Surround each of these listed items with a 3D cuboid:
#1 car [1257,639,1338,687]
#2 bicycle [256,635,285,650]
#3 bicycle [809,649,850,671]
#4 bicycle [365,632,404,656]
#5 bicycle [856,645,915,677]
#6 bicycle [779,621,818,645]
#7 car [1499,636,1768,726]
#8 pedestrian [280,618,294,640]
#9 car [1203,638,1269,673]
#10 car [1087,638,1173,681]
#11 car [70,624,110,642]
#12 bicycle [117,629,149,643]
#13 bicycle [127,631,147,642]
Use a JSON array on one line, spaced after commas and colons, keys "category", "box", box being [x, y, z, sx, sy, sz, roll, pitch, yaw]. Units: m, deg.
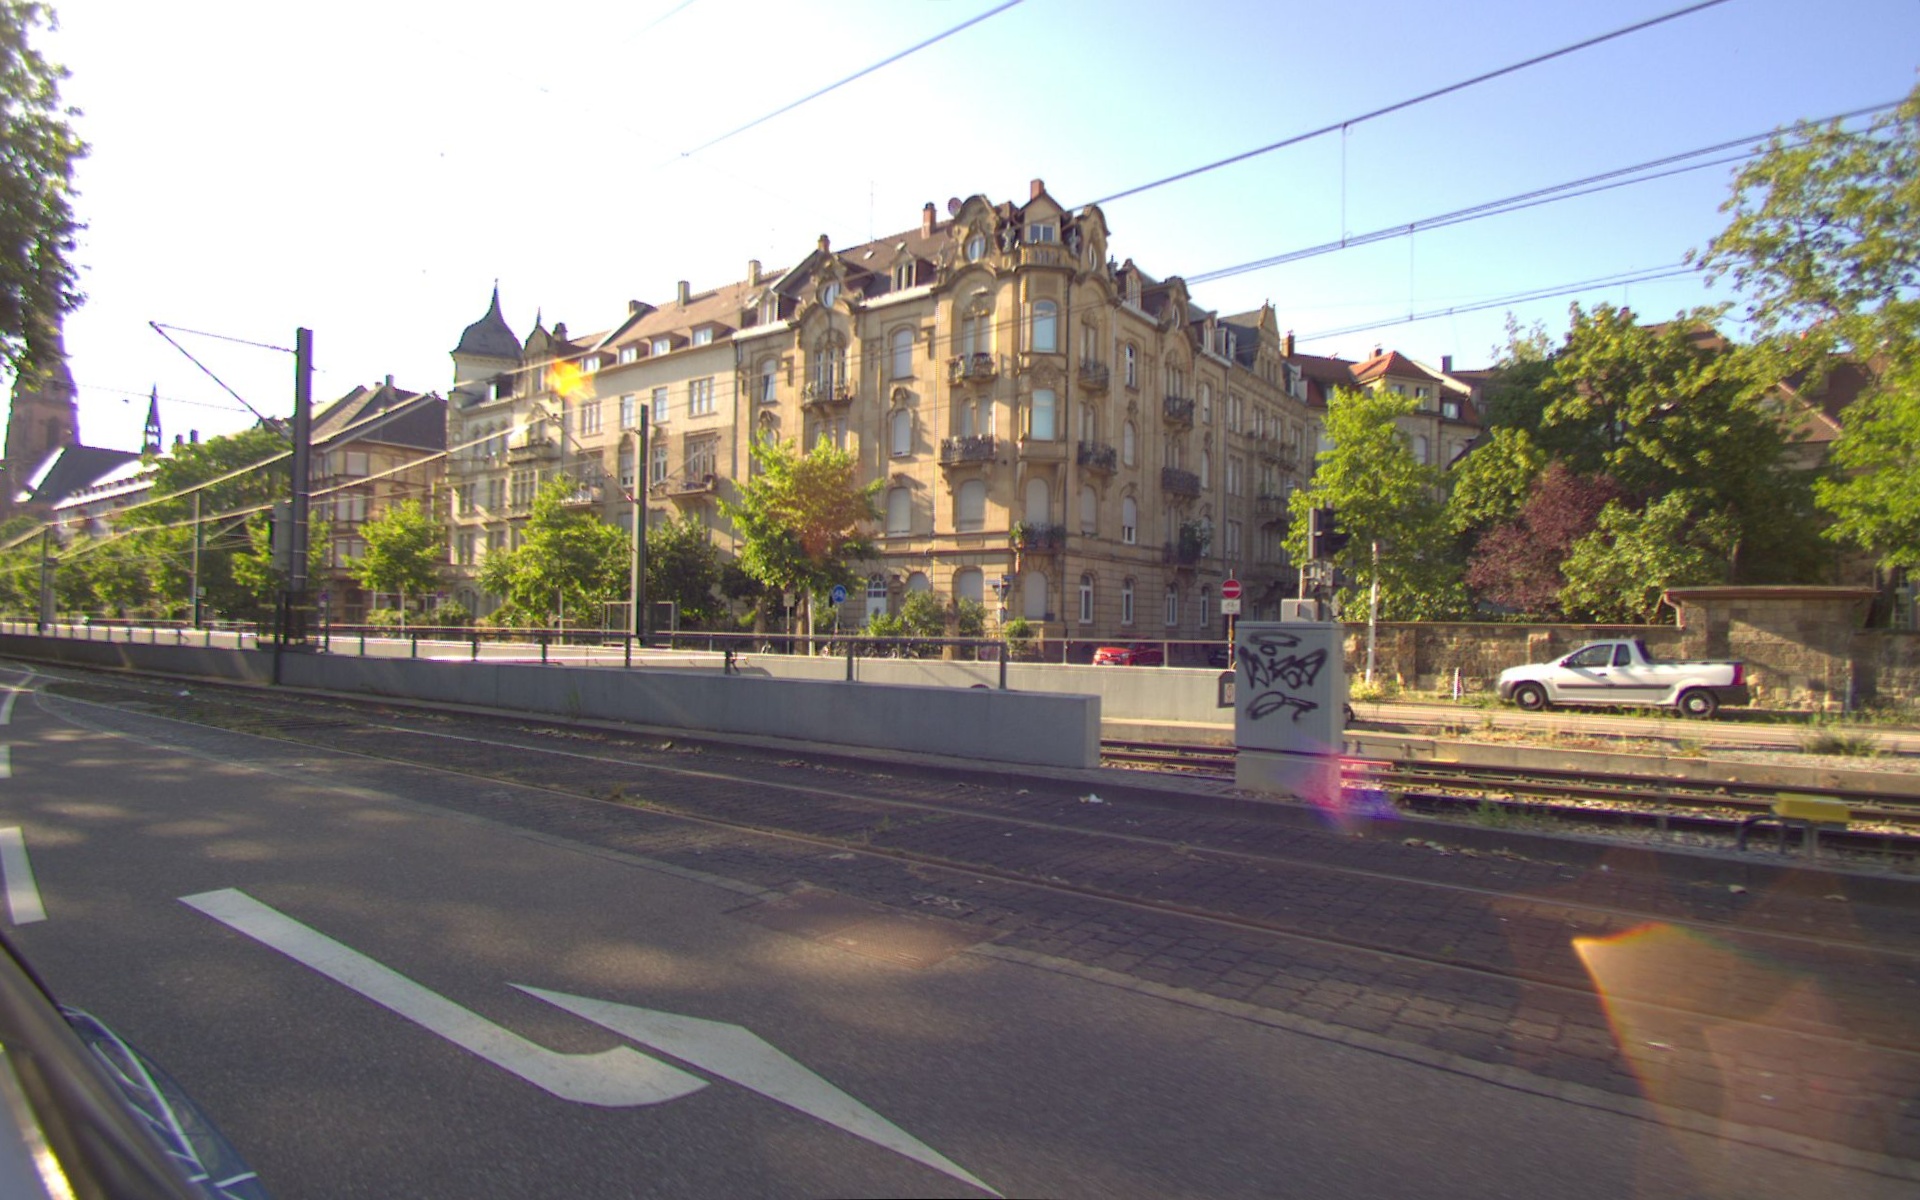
[{"category": "car", "box": [12.627, 2.323, 37.737, 1.816, 1.664, 3.951, -1, -3, 36]}, {"category": "bicycle", "box": [-50.886, 3.151, 74.699, 1.921, 1.012, 0.454, 2, 0, 7]}, {"category": "bicycle", "box": [-5.110, 2.329, 39.470, 1.886, 0.806, 0.412, -1, 0, 40]}, {"category": "bicycle", "box": [-31.715, 2.429, 55.801, 0.599, 1.289, 1.712, -1, -3, 43]}, {"category": "bicycle", "box": [-2.452, 2.012, 33.351, 1.874, 1.030, 0.485, -1, 0, 14]}, {"category": "bicycle", "box": [-7.281, 1.475, 45.531, 2.111, 1.026, 0.500, -1, 0, 42]}, {"category": "car", "box": [13.849, 1.576, 20.967, 4.505, 1.567, 1.699, -1, 0, 39]}, {"category": "pedestrian", "box": [-52.861, 2.277, 79.499, 0.864, 1.701, 0.711, -1, 0, 43]}, {"category": "car", "box": [13.327, 2.676, 48.764, 1.816, 1.581, 3.951, -1, -3, 36]}, {"category": "car", "box": [6.783, 2.328, 40.032, 1.816, 1.581, 3.951, -1, -3, 36]}, {"category": "car", "box": [-78.940, 2.974, 91.844, 3.991, 1.597, 1.816, -1, 0, 35]}, {"category": "bicycle", "box": [-69.104, 3.017, 84.562, 0.550, 1.107, 2.371, -1, 0, 7]}, {"category": "bicycle", "box": [-68.553, 3.045, 84.317, 0.532, 0.912, 1.266, -1, 0, 7]}]
